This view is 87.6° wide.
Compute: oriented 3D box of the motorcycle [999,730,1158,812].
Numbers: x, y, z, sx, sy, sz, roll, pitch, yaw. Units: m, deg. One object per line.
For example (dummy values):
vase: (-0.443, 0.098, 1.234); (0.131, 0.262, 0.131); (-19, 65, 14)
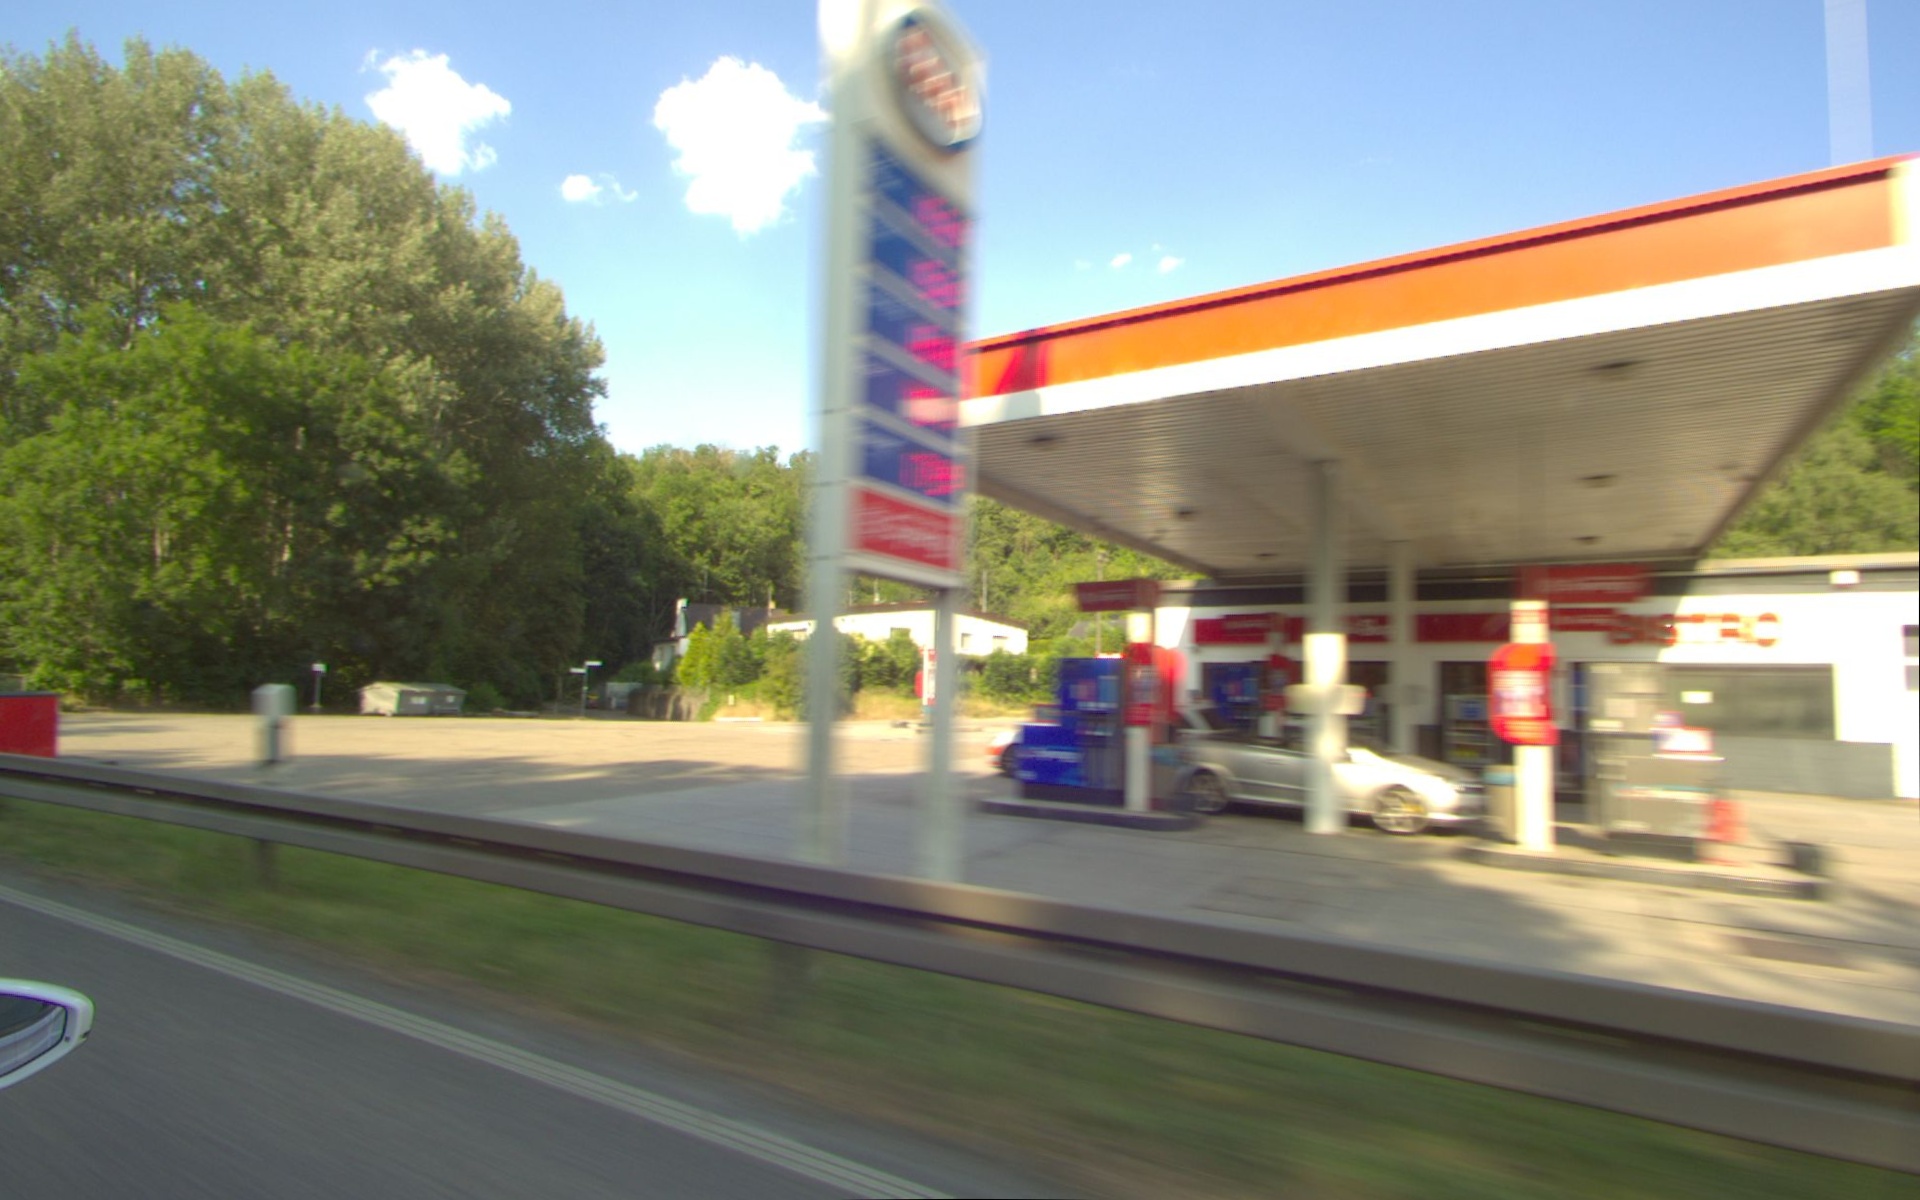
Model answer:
motorcycle: (1.795, 2.583, 15.329); (2.307, 1.024, 0.761); (-1, -4, 32)

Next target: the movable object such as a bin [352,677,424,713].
movable object such as a bin: (-24.866, 4.115, 43.574); (2.511, 1.436, 1.271); (0, -6, 18)

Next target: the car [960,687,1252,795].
car: (2.719, 2.563, 19.058); (5.104, 1.647, 2.091); (-1, -4, 31)

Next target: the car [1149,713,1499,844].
car: (5.036, 2.368, 14.022); (4.327, 1.335, 1.840); (-1, -4, 33)
